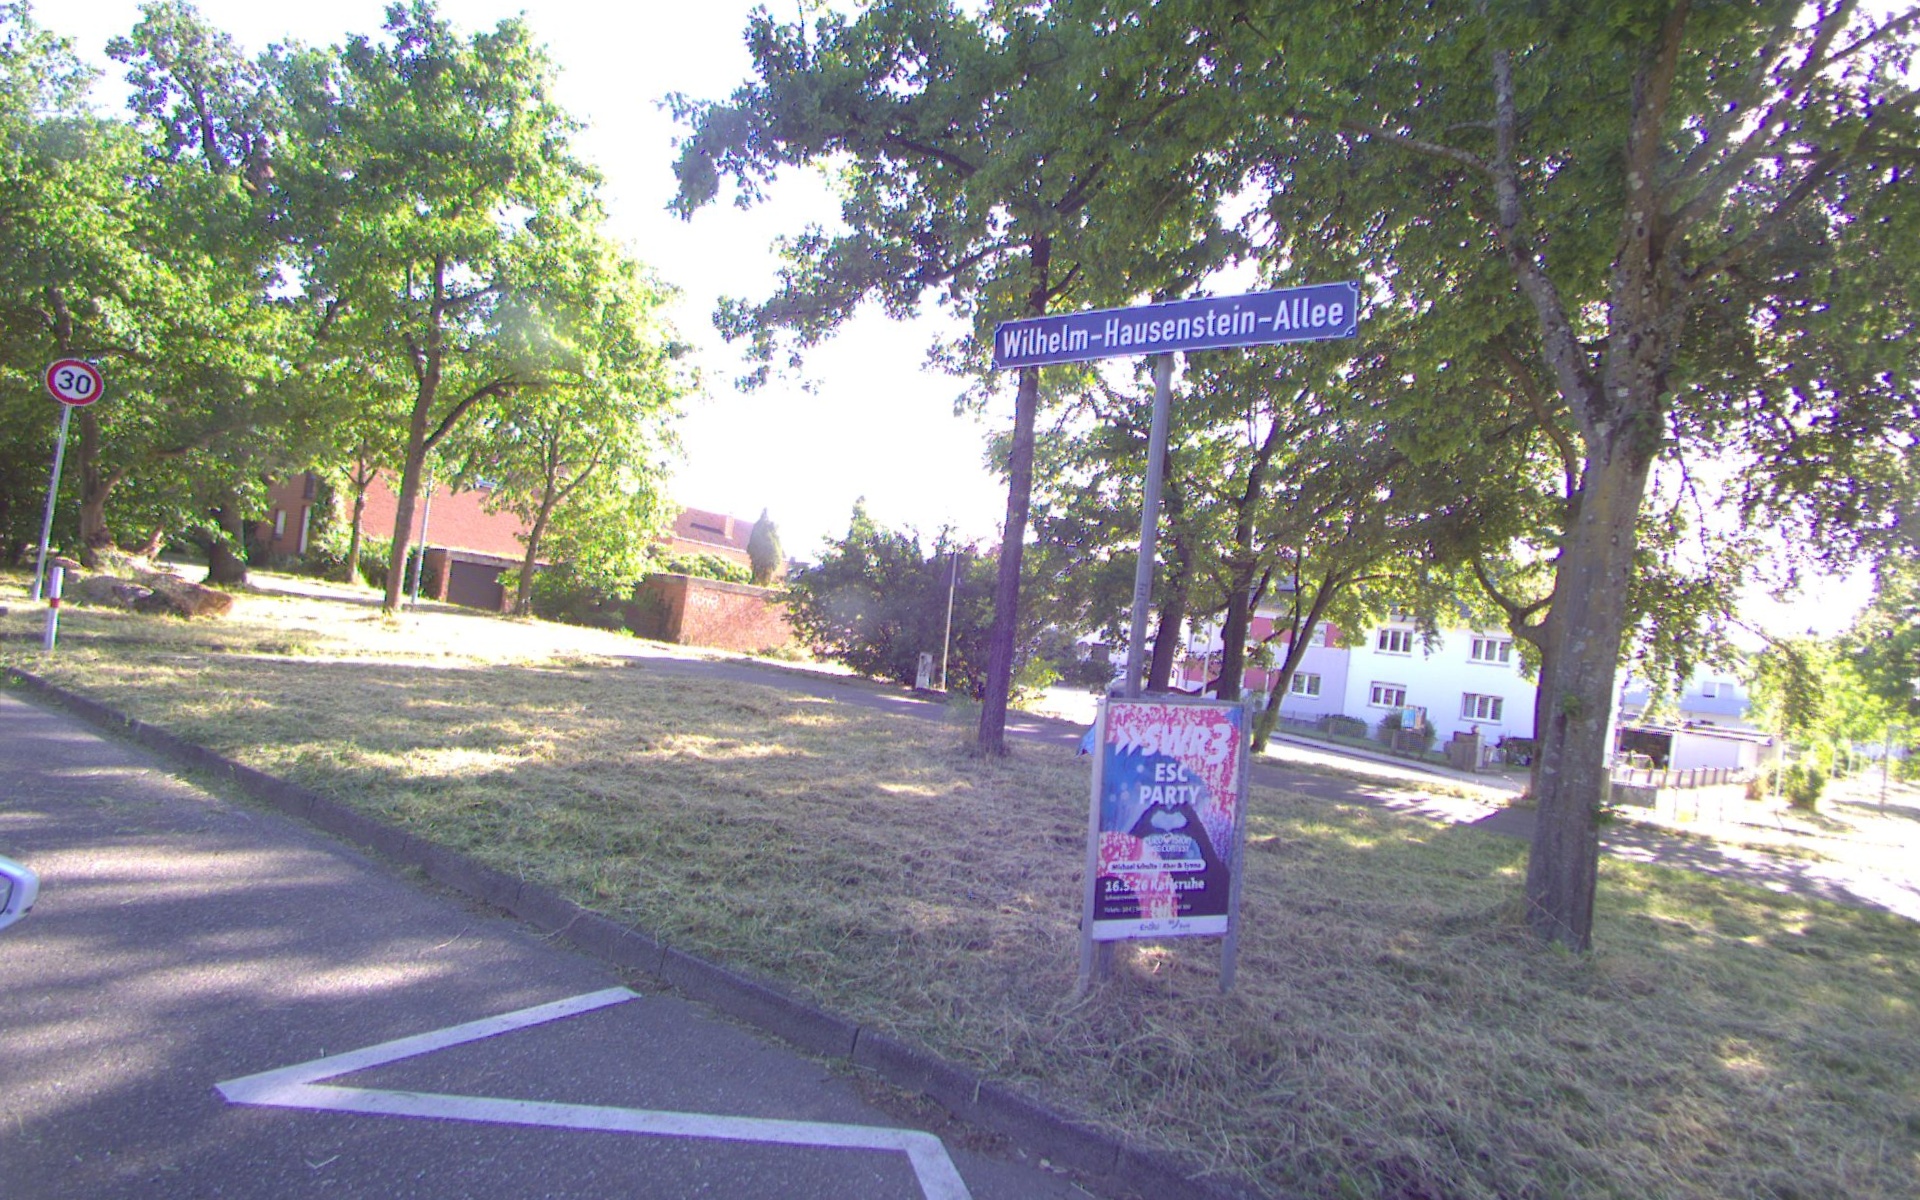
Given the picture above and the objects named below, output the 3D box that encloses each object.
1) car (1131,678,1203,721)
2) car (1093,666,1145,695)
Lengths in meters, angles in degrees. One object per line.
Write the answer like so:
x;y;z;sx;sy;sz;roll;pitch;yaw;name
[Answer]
9.877;4.754;48.239;1.514;1.569;3.161;9;-2;-29;car
10.882;5.507;68.747;3.616;1.515;1.434;10;-3;-41;car
